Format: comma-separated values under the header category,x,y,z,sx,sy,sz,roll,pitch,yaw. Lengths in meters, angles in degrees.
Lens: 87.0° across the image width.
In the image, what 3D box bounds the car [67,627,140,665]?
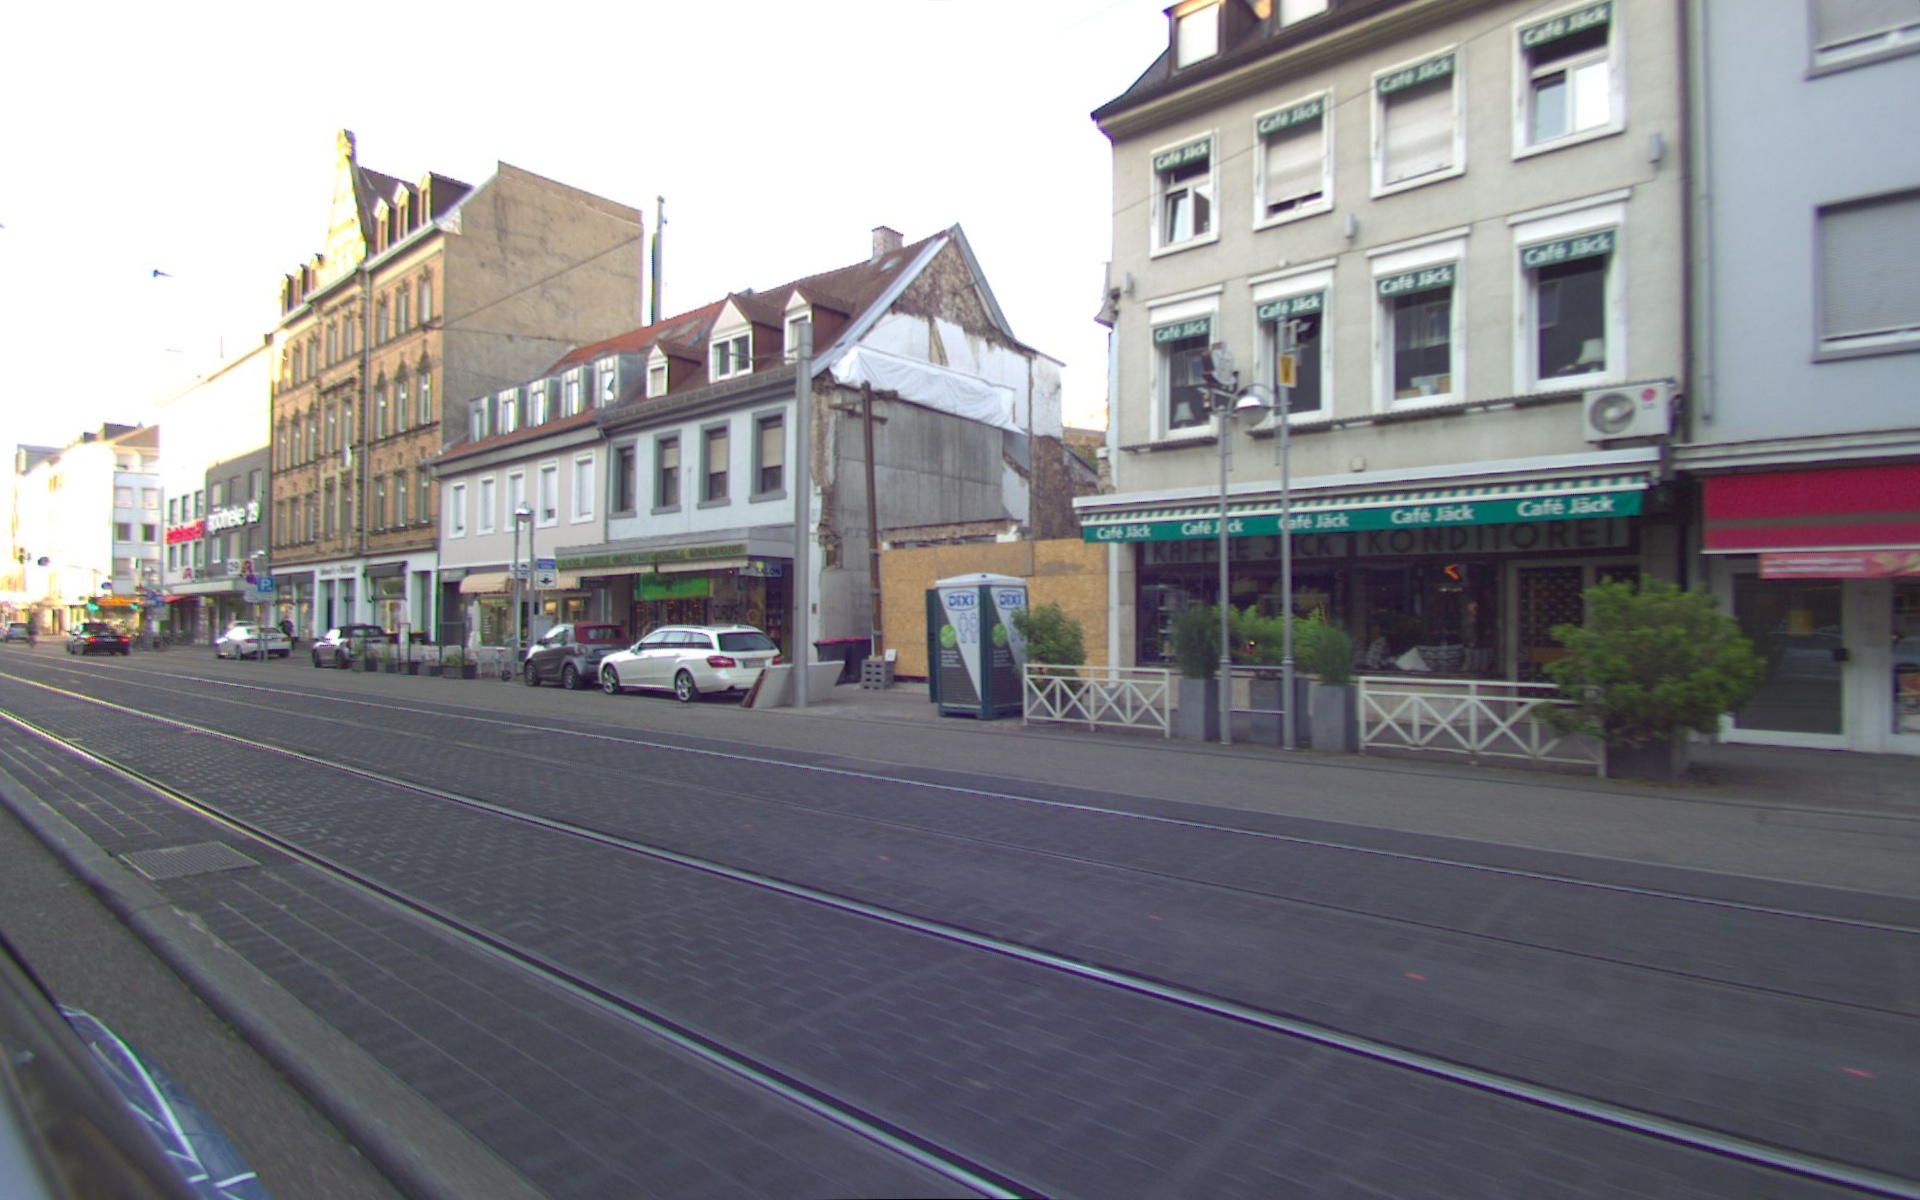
category,x,y,z,sx,sy,sz,roll,pitch,yaw
car,-39.931,2.106,47.151,3.997,1.574,1.973,-1,0,40

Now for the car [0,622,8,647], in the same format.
category,x,y,z,sx,sy,sz,roll,pitch,yaw
car,-75.201,2.671,78.173,3.997,1.854,1.973,0,1,40

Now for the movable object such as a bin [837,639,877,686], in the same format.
category,x,y,z,sx,sy,sz,roll,pitch,yaw
movable object such as a bin,-2.414,1.457,23.730,0.657,1.053,0.674,-1,0,45

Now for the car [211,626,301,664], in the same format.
category,x,y,z,sx,sy,sz,roll,pitch,yaw
car,-29.862,1.874,42.904,4.399,1.431,1.974,-1,0,39

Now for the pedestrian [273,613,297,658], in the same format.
category,x,y,z,sx,sy,sz,roll,pitch,yaw
pedestrian,-31.164,1.622,46.702,0.738,2.029,1.049,-1,0,-45

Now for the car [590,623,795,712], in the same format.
category,x,y,z,sx,sy,sz,roll,pitch,yaw
car,-5.654,1.297,21.063,4.621,1.568,1.871,-1,0,41

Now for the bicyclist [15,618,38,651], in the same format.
category,x,y,z,sx,sy,sz,roll,pitch,yaw
bicyclist,-53.149,1.949,57.644,0.900,1.819,0.871,-1,0,42

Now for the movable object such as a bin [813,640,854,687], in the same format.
category,x,y,z,sx,sy,sz,roll,pitch,yaw
movable object such as a bin,-2.912,1.452,23.224,0.657,1.053,0.674,-2,-2,45

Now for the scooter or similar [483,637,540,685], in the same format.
category,x,y,z,sx,sy,sz,roll,pitch,yaw
scooter or similar,-11.661,1.569,26.349,0.311,1.177,1.347,-1,0,43

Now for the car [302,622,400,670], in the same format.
category,x,y,z,sx,sy,sz,roll,pitch,yaw
car,-20.987,1.538,34.843,3.814,1.504,1.822,-1,0,41

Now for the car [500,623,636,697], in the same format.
category,x,y,z,sx,sy,sz,roll,pitch,yaw
car,-9.456,1.370,24.319,3.469,1.582,1.638,-1,0,41

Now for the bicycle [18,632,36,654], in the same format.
category,x,y,z,sx,sy,sz,roll,pitch,yaw
bicycle,-53.127,2.445,57.595,2.264,1.199,0.487,-1,0,41

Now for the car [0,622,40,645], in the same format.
category,x,y,z,sx,sy,sz,roll,pitch,yaw
car,-64.639,2.264,69.252,3.997,1.453,1.973,-1,0,40

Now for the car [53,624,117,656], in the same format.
category,x,y,z,sx,sy,sz,roll,pitch,yaw
car,-46.258,2.082,53.456,3.997,1.564,1.973,-1,0,40
